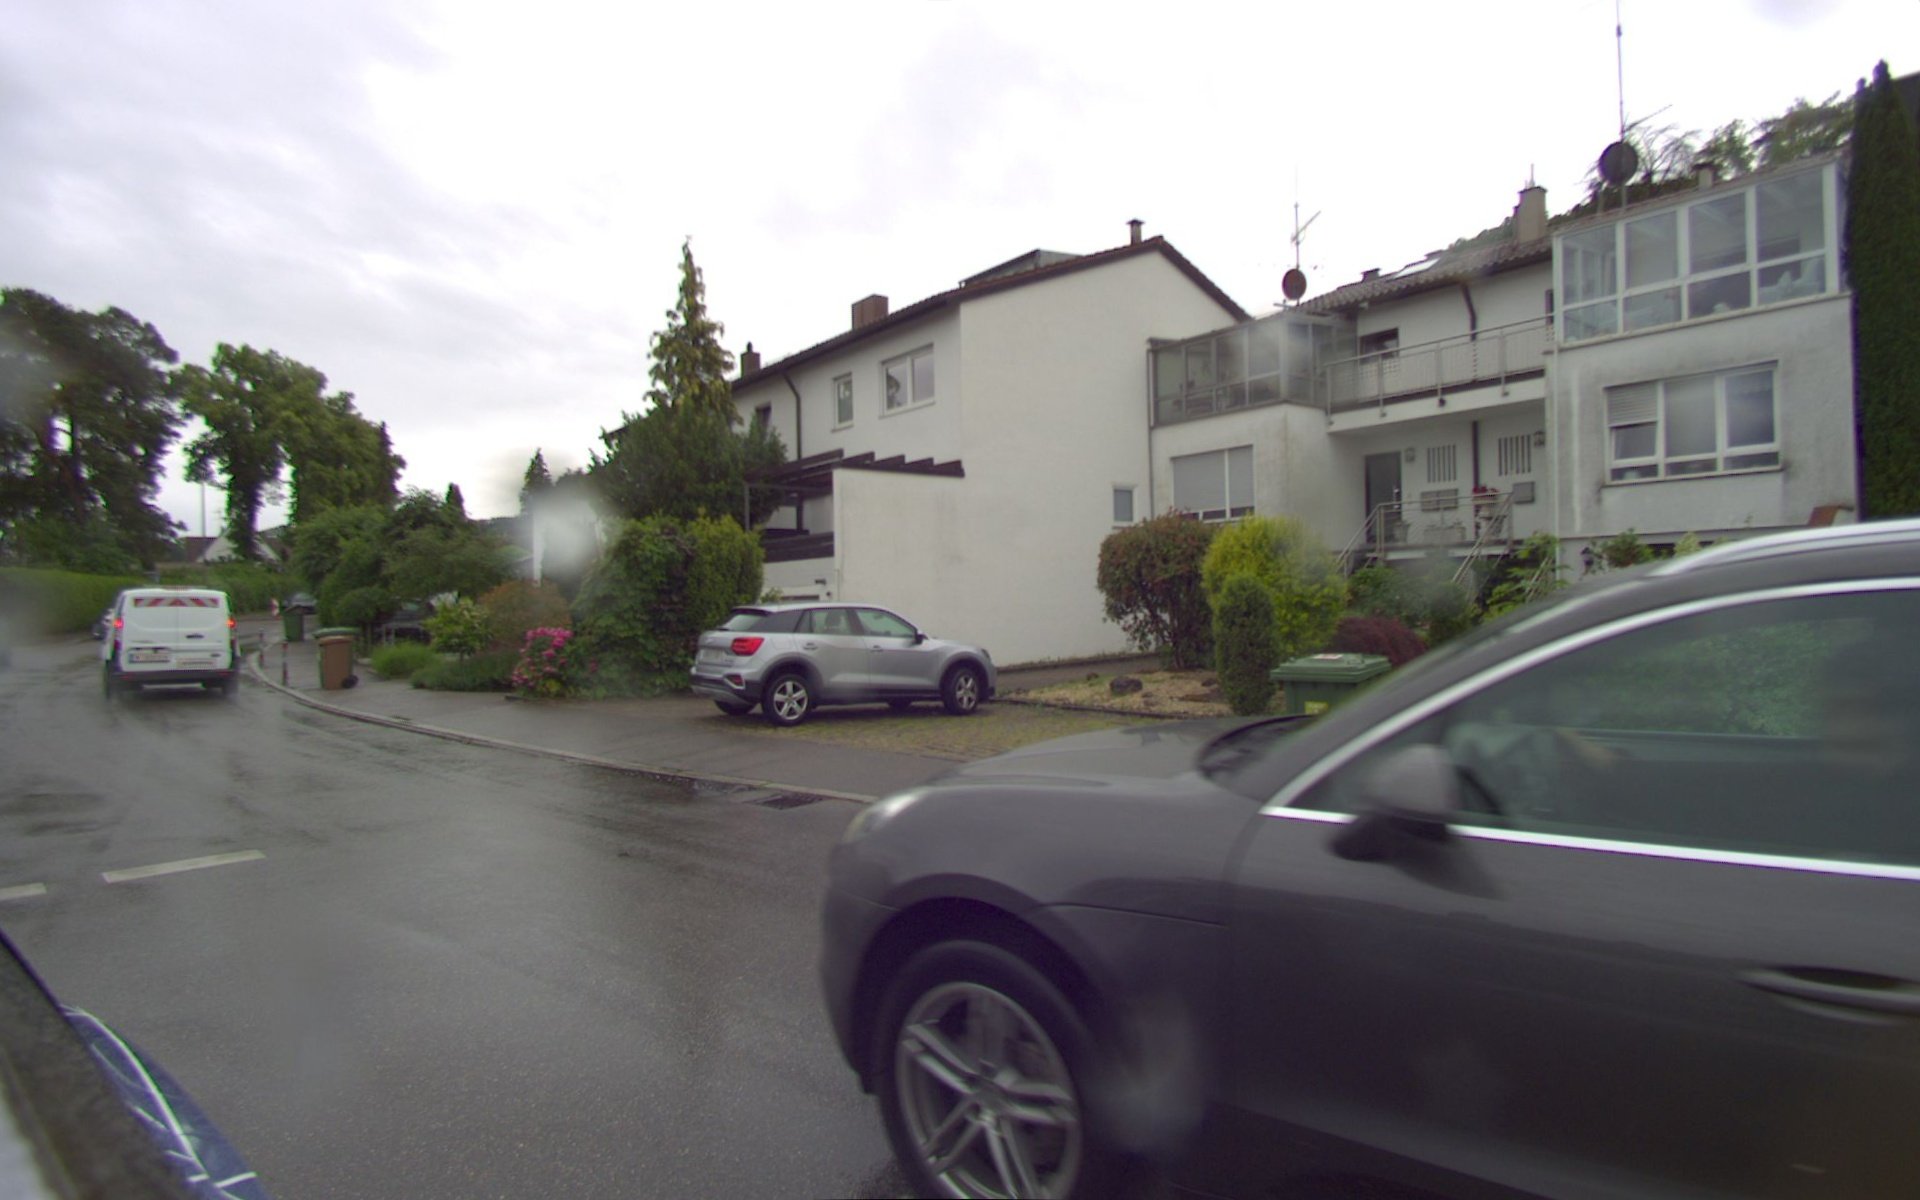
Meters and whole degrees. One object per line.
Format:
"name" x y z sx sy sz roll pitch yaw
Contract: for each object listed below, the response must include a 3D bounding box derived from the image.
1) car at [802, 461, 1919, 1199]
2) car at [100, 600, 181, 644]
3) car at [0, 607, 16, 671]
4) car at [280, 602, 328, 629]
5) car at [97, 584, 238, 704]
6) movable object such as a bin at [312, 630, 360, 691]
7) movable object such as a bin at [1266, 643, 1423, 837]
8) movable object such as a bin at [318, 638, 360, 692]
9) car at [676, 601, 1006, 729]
"car" 1.836 0.621 1.894 4.207 1.606 1.772 -1 0 36
"car" -33.294 0.864 41.241 1.637 1.651 4.229 -1 0 -26
"car" -23.881 0.948 23.843 1.876 1.553 4.226 -1 0 -36
"car" -41.430 0.966 63.970 1.637 1.651 4.229 -1 0 -20
"car" -14.172 0.710 18.010 1.755 1.879 4.222 0 -1 -41
"movable object such as a bin" -11.395 1.100 18.488 0.682 1.100 0.421 2 -3 -39
"movable object such as a bin" 2.449 0.841 6.431 0.622 1.076 0.836 -3 0 43
"movable object such as a bin" -11.113 1.147 18.105 0.571 0.947 0.504 2 -3 -39
"car" -1.503 0.781 13.340 3.934 1.451 1.773 2 -1 -35
